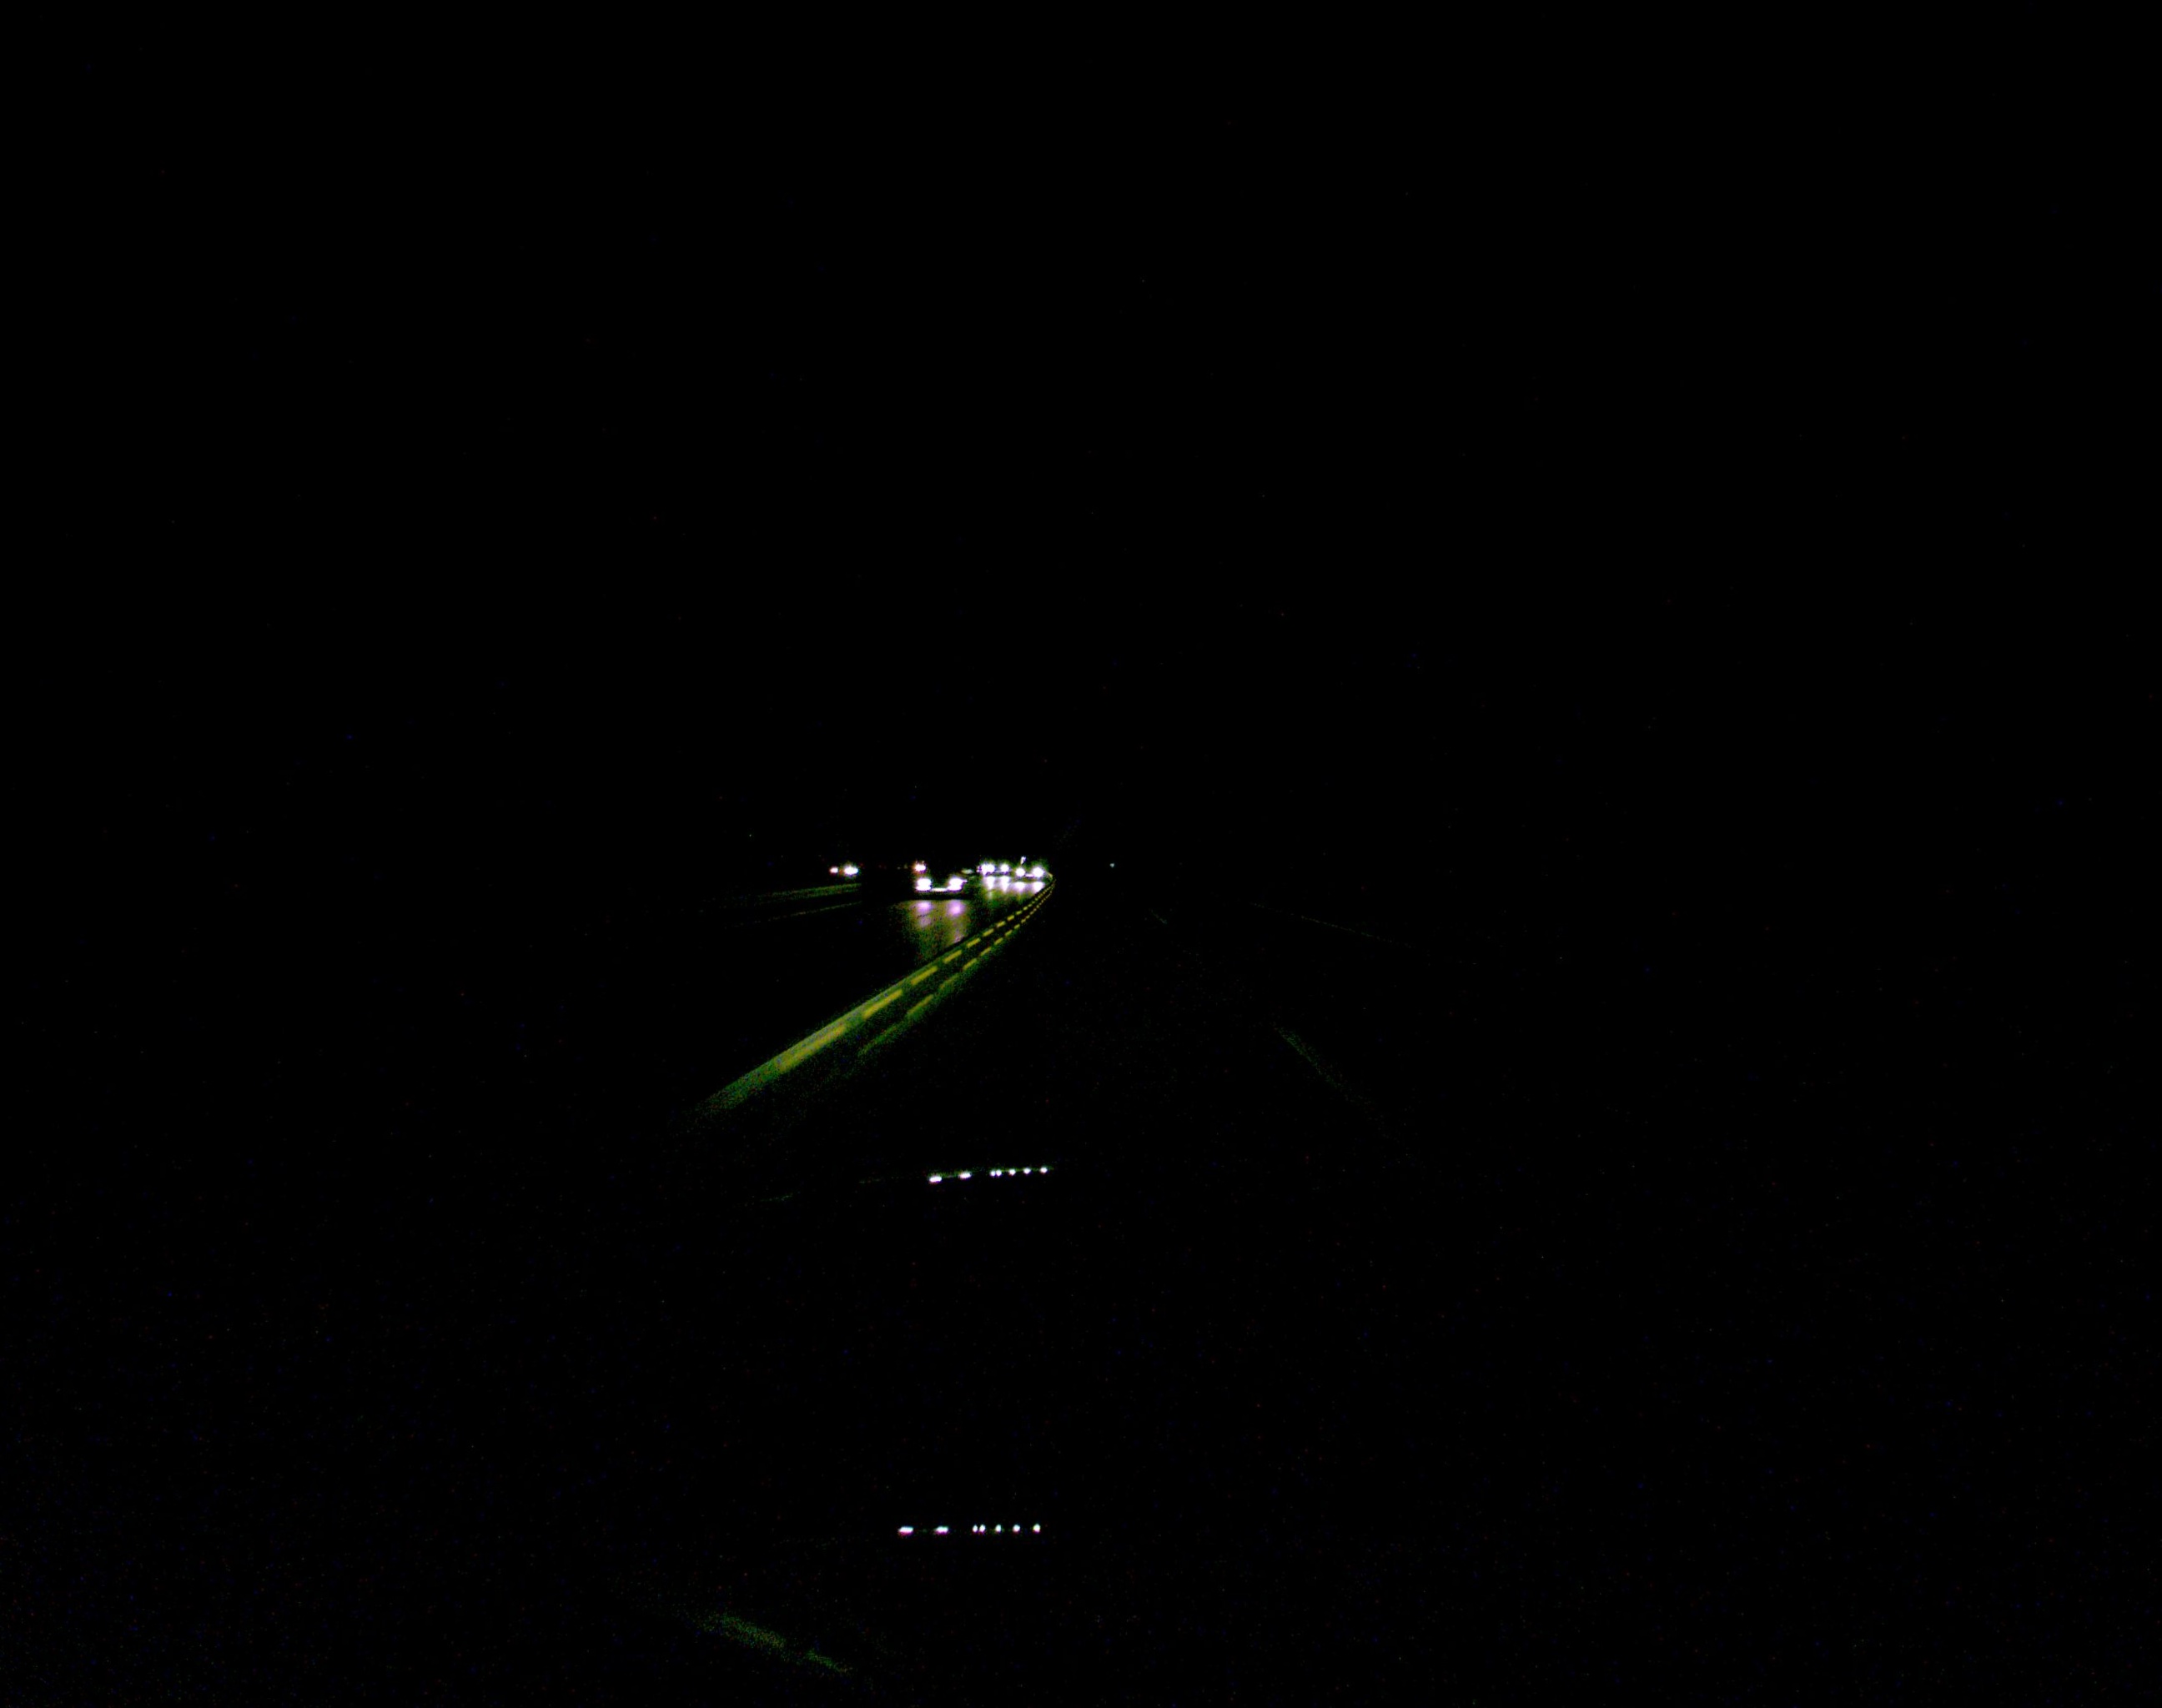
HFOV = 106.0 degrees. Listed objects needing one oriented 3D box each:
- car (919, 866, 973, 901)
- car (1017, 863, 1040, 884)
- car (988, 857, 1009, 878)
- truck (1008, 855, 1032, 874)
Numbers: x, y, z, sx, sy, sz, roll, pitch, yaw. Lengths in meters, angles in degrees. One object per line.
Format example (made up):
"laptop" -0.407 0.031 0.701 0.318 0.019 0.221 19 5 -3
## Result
"car" -5.693 1.219 34.842 1.712 1.380 4.240 -1 -1 -2
"car" -3.998 1.485 62.778 1.647 1.469 3.995 -2 -1 -3
"car" -8.695 1.444 86.189 1.990 2.014 5.576 -2 -1 -5
"truck" -16.042 2.886 213.320 4.016 4.552 13.890 -2 -1 -13
